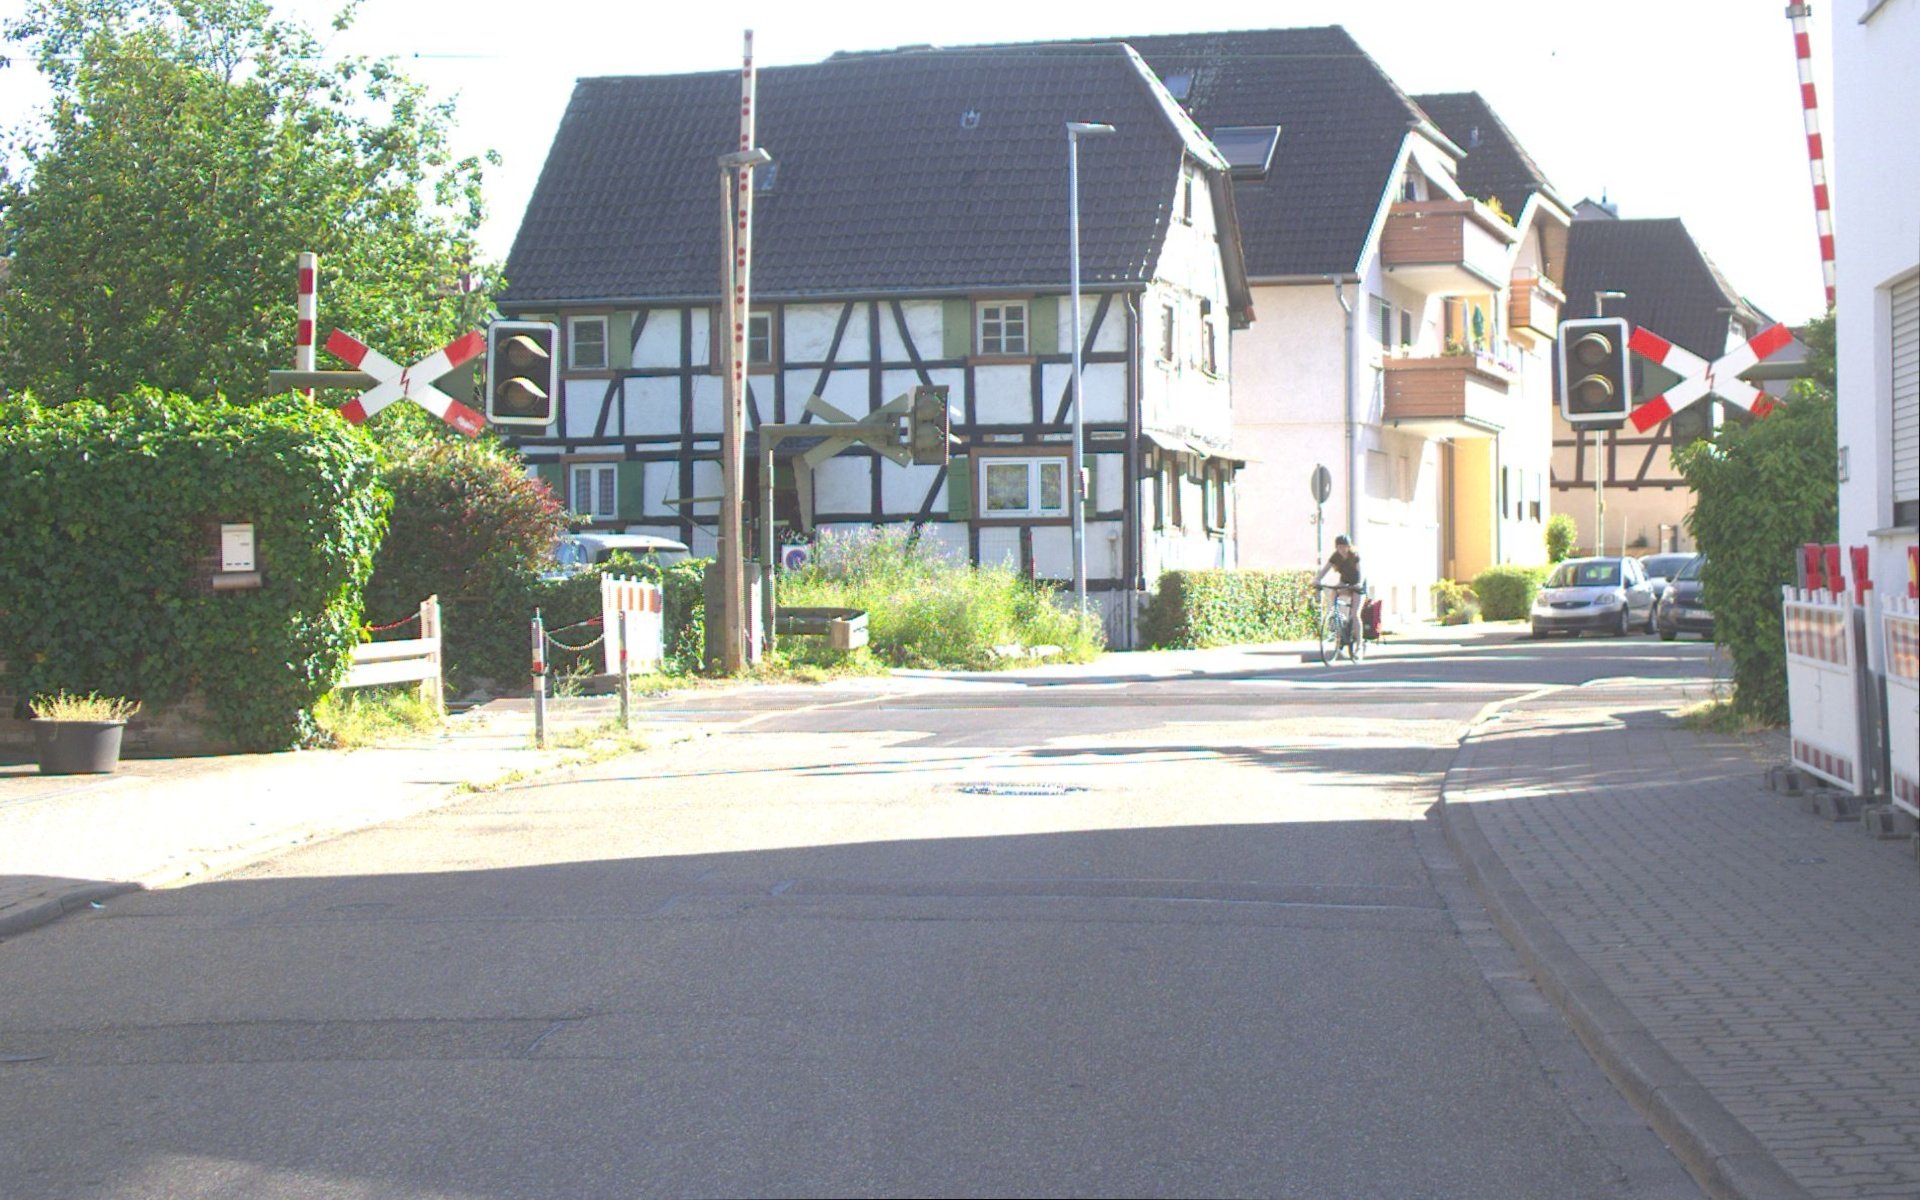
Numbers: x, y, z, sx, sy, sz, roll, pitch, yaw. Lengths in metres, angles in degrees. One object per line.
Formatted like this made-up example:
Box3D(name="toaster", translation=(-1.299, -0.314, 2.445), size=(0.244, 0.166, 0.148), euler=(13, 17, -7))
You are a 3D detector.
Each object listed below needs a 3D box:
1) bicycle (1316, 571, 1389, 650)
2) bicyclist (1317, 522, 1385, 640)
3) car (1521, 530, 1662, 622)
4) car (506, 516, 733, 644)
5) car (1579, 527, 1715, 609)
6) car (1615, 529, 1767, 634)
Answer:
Box3D(name="bicycle", translation=(5.197, 0.127, 45.594), size=(0.883, 1.002, 2.062), euler=(-1, 0, 5))
Box3D(name="bicyclist", translation=(5.184, -0.247, 45.642), size=(0.848, 1.536, 0.873), euler=(-1, 0, 5))
Box3D(name="car", translation=(11.585, -0.456, 62.878), size=(1.633, 1.501, 3.848), euler=(-3, 0, 24))
Box3D(name="car", translation=(-4.471, -0.282, 44.662), size=(1.683, 1.559, 4.001), euler=(1, 1, -25))
Box3D(name="car", translation=(13.452, -0.639, 67.182), size=(1.675, 1.500, 4.089), euler=(-1, 1, 25))
Box3D(name="car", translation=(12.505, -0.342, 58.675), size=(1.688, 1.504, 3.650), euler=(6, 5, 24))
